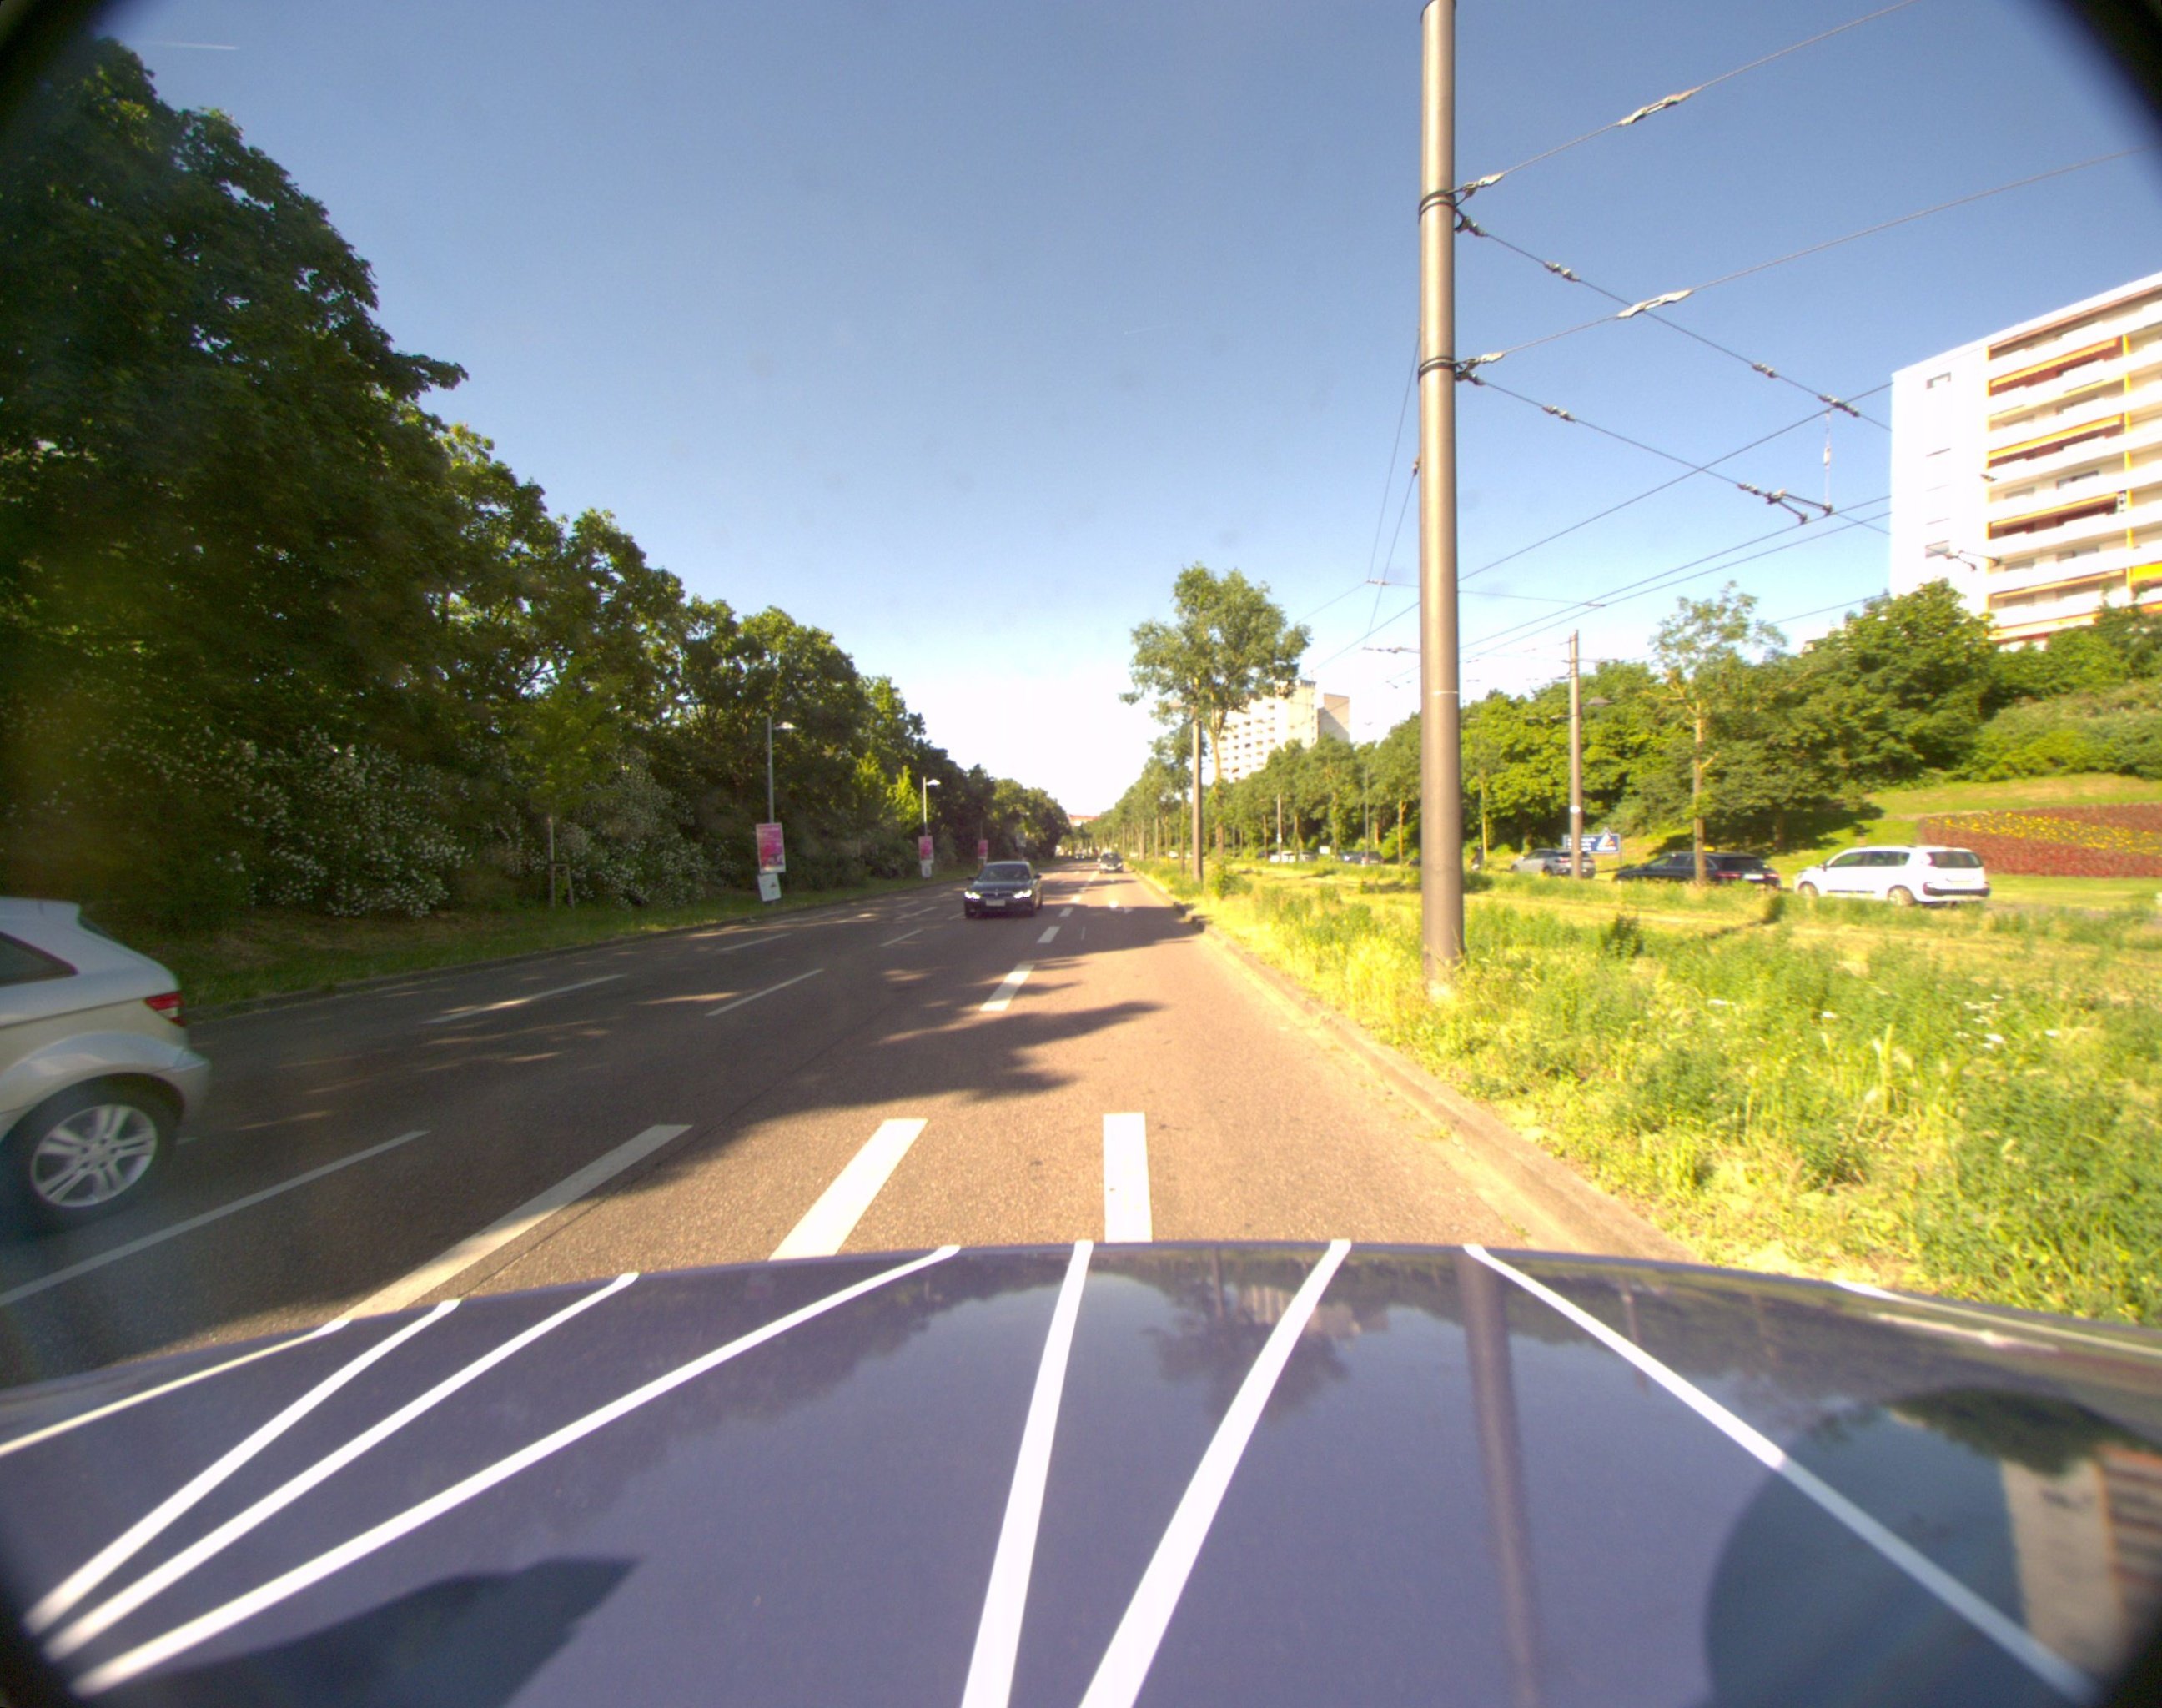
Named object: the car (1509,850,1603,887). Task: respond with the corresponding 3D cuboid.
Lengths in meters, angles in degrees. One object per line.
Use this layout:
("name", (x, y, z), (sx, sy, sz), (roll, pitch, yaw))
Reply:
("car", (22.102, 0.620, 35.565), (1.842, 1.592, 4.438), (-1, 1, 4))

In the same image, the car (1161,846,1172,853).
("car", (17.552, -0.888, 155.852), (1.998, 1.401, 4.991), (-2, 1, 4))

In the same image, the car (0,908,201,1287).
("car", (-5.398, 1.064, 1.857), (1.672, 1.531, 4.060), (-1, 0, 2))

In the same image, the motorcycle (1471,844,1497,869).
("motorcycle", (19.139, 0.096, 36.105), (0.422, 1.125, 2.096), (-2, 1, 9))

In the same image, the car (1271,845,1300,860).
("car", (19.874, -0.132, 73.980), (1.707, 1.414, 4.643), (-1, 0, 2))

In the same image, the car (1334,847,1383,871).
("car", (18.950, 0.327, 52.063), (1.998, 1.585, 4.465), (0, 1, 4))

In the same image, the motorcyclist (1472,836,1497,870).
("motorcyclist", (19.192, -0.046, 36.143), (0.836, 1.590, 0.640), (-2, 1, 9))

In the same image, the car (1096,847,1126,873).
("car", (2.148, 0.417, 54.985), (1.998, 1.696, 3.999), (-2, 1, 1))

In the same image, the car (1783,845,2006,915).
("car", (21.856, 0.624, 20.703), (1.805, 1.698, 4.060), (0, 1, 2))

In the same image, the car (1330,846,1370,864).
("car", (22.945, 0.054, 64.978), (1.998, 1.366, 4.400), (-2, 1, 3))

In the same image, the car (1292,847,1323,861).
("car", (23.537, -0.045, 79.057), (1.998, 1.424, 4.693), (0, 1, 2))

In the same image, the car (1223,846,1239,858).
("car", (19.956, -0.262, 101.205), (1.592, 1.464, 4.183), (-1, 0, 3))

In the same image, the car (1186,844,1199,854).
("car", (18.537, -0.796, 126.150), (1.767, 1.599, 3.758), (0, 1, 2))

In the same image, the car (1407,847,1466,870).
("car", (22.246, 0.267, 47.705), (1.866, 1.334, 4.031), (0, 1, 1))

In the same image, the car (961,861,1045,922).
("car", (-2.066, 0.962, 21.256), (1.831, 1.401, 4.216), (-2, 1, 1))

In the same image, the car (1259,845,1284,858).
("car", (23.371, -0.364, 93.230), (1.998, 1.472, 4.631), (-2, 1, 2))

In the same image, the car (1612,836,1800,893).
("car", (18.531, 0.265, 22.865), (1.880, 1.477, 4.604), (-2, 1, 1))
